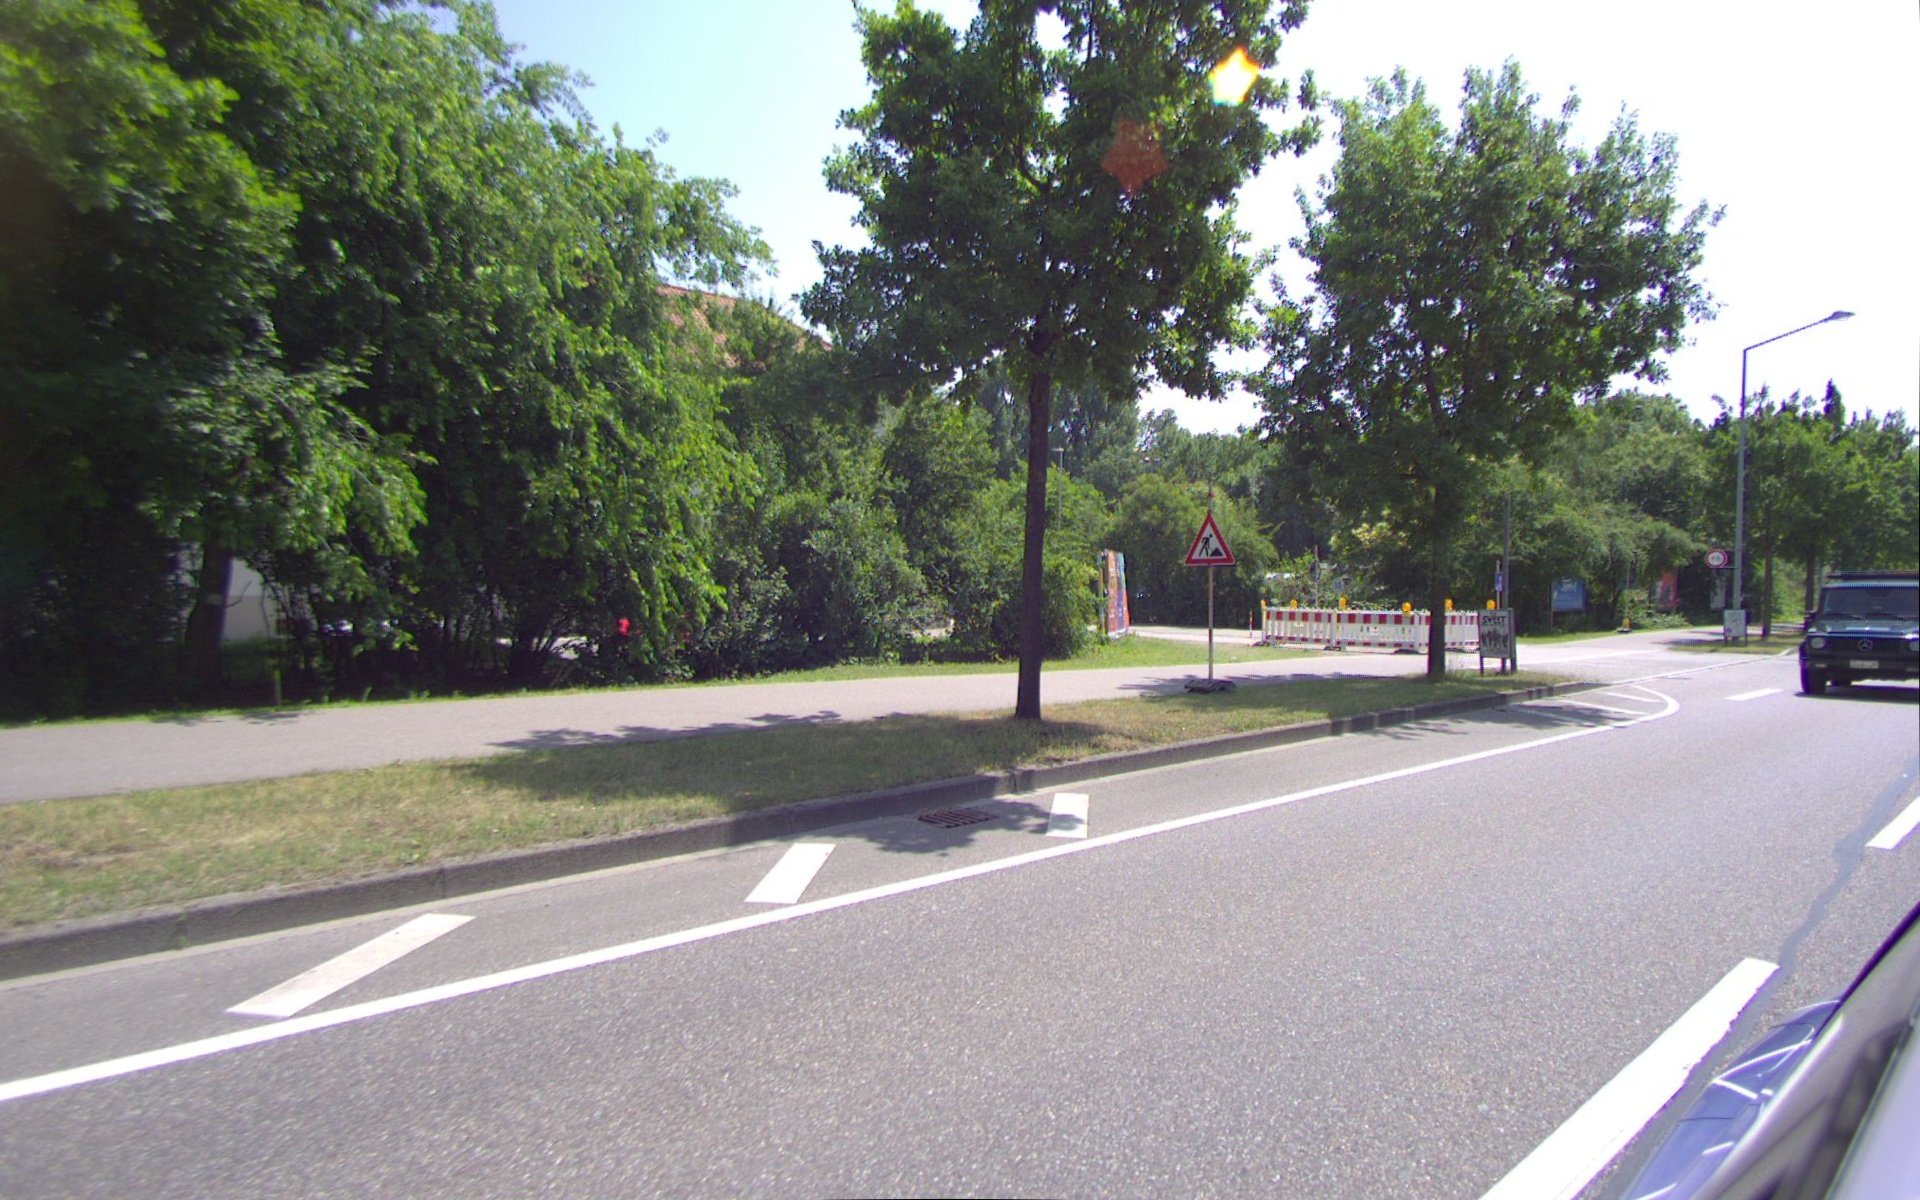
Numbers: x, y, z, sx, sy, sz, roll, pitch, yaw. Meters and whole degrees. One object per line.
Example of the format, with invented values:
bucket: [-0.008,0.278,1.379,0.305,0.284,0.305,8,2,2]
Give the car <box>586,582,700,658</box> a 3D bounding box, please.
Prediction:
car: [-7.668,0.420,24.835,1.842,1.682,4.005,1,1,-5]

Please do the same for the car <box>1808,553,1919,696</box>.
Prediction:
car: [16.082,0.351,17.327,4.481,2.180,1.839,0,1,-43]
